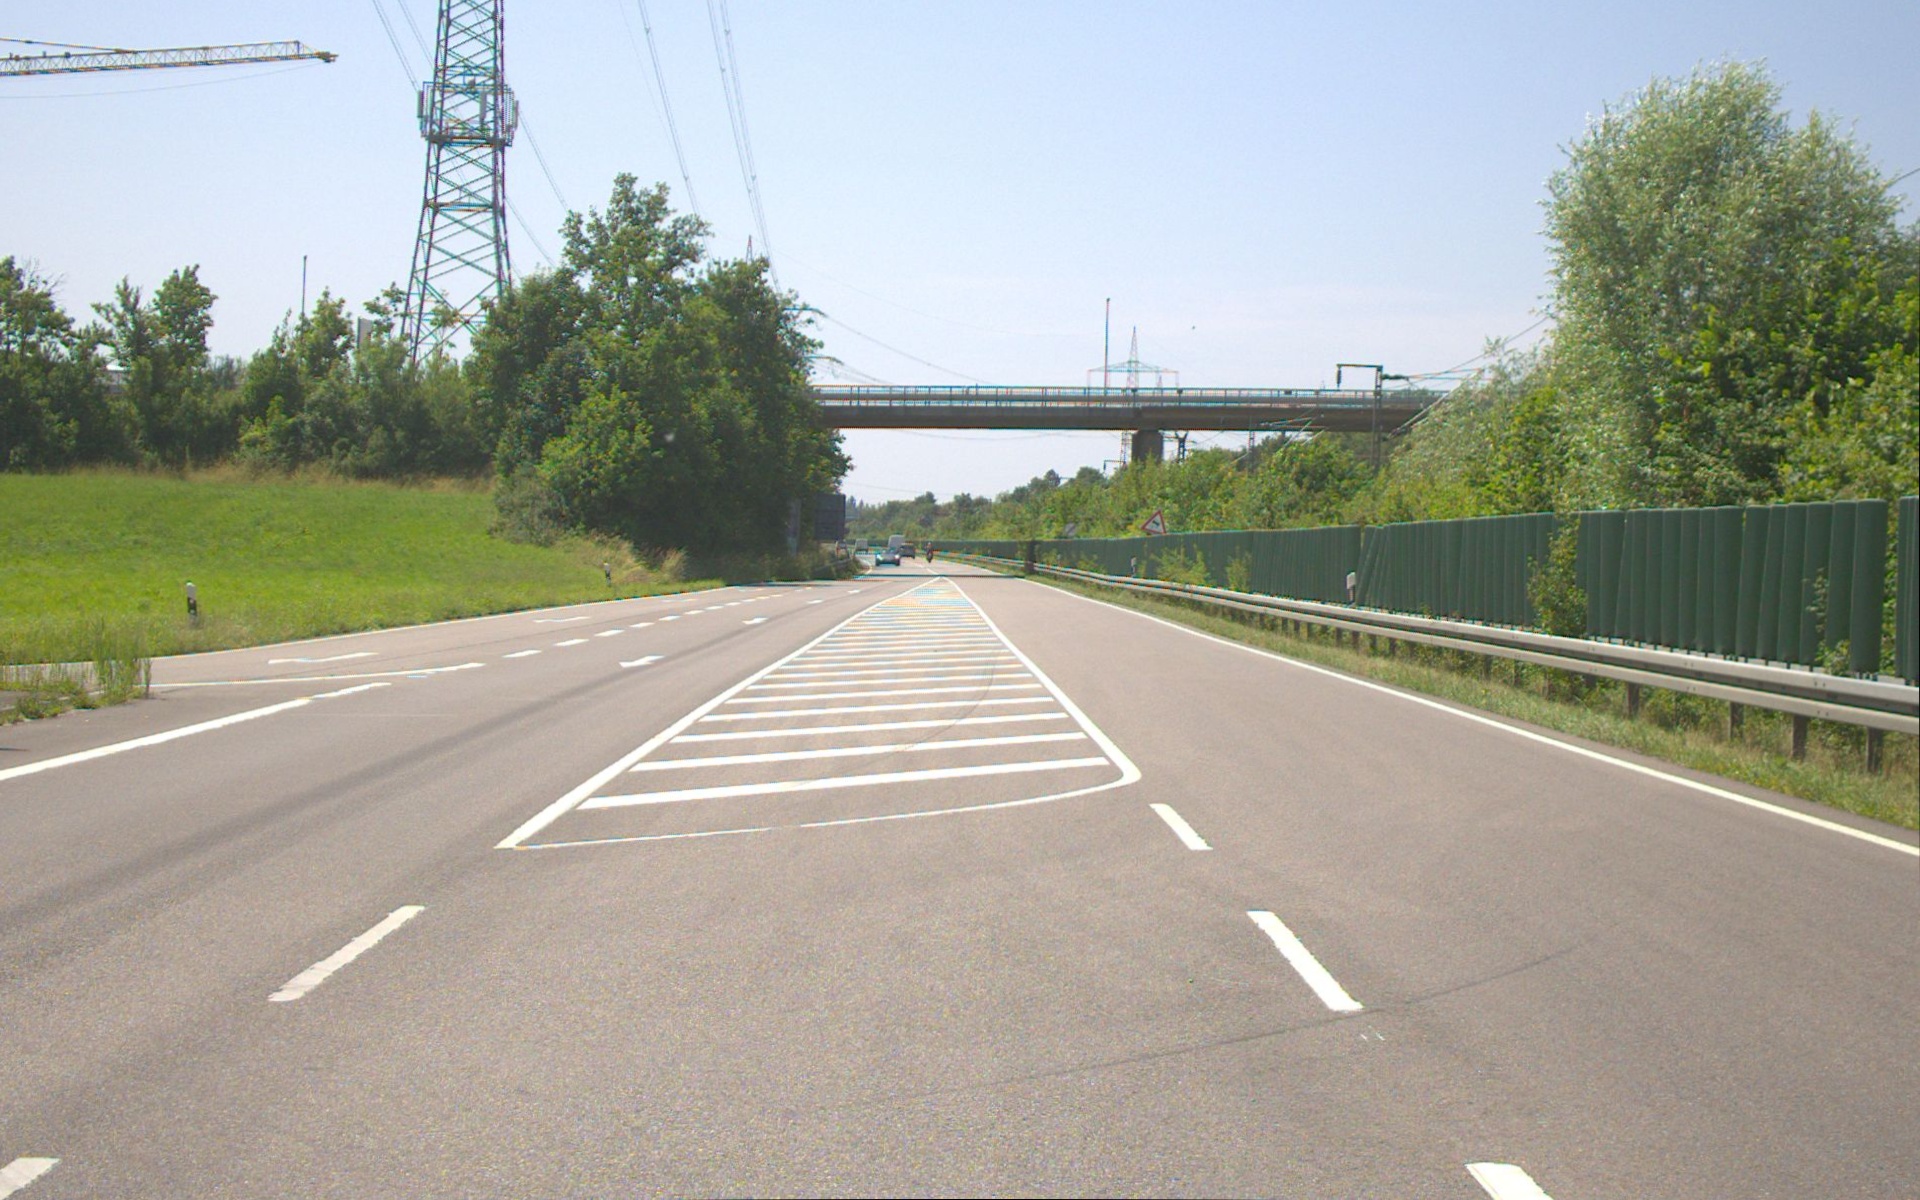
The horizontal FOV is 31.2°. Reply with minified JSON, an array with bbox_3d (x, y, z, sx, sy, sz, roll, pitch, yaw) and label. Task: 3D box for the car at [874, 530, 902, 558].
[{"bbox_3d":[-5.390,-4.232,257.754,1.993,2.007,4.000,2,1,-1],"label":"car"}]
